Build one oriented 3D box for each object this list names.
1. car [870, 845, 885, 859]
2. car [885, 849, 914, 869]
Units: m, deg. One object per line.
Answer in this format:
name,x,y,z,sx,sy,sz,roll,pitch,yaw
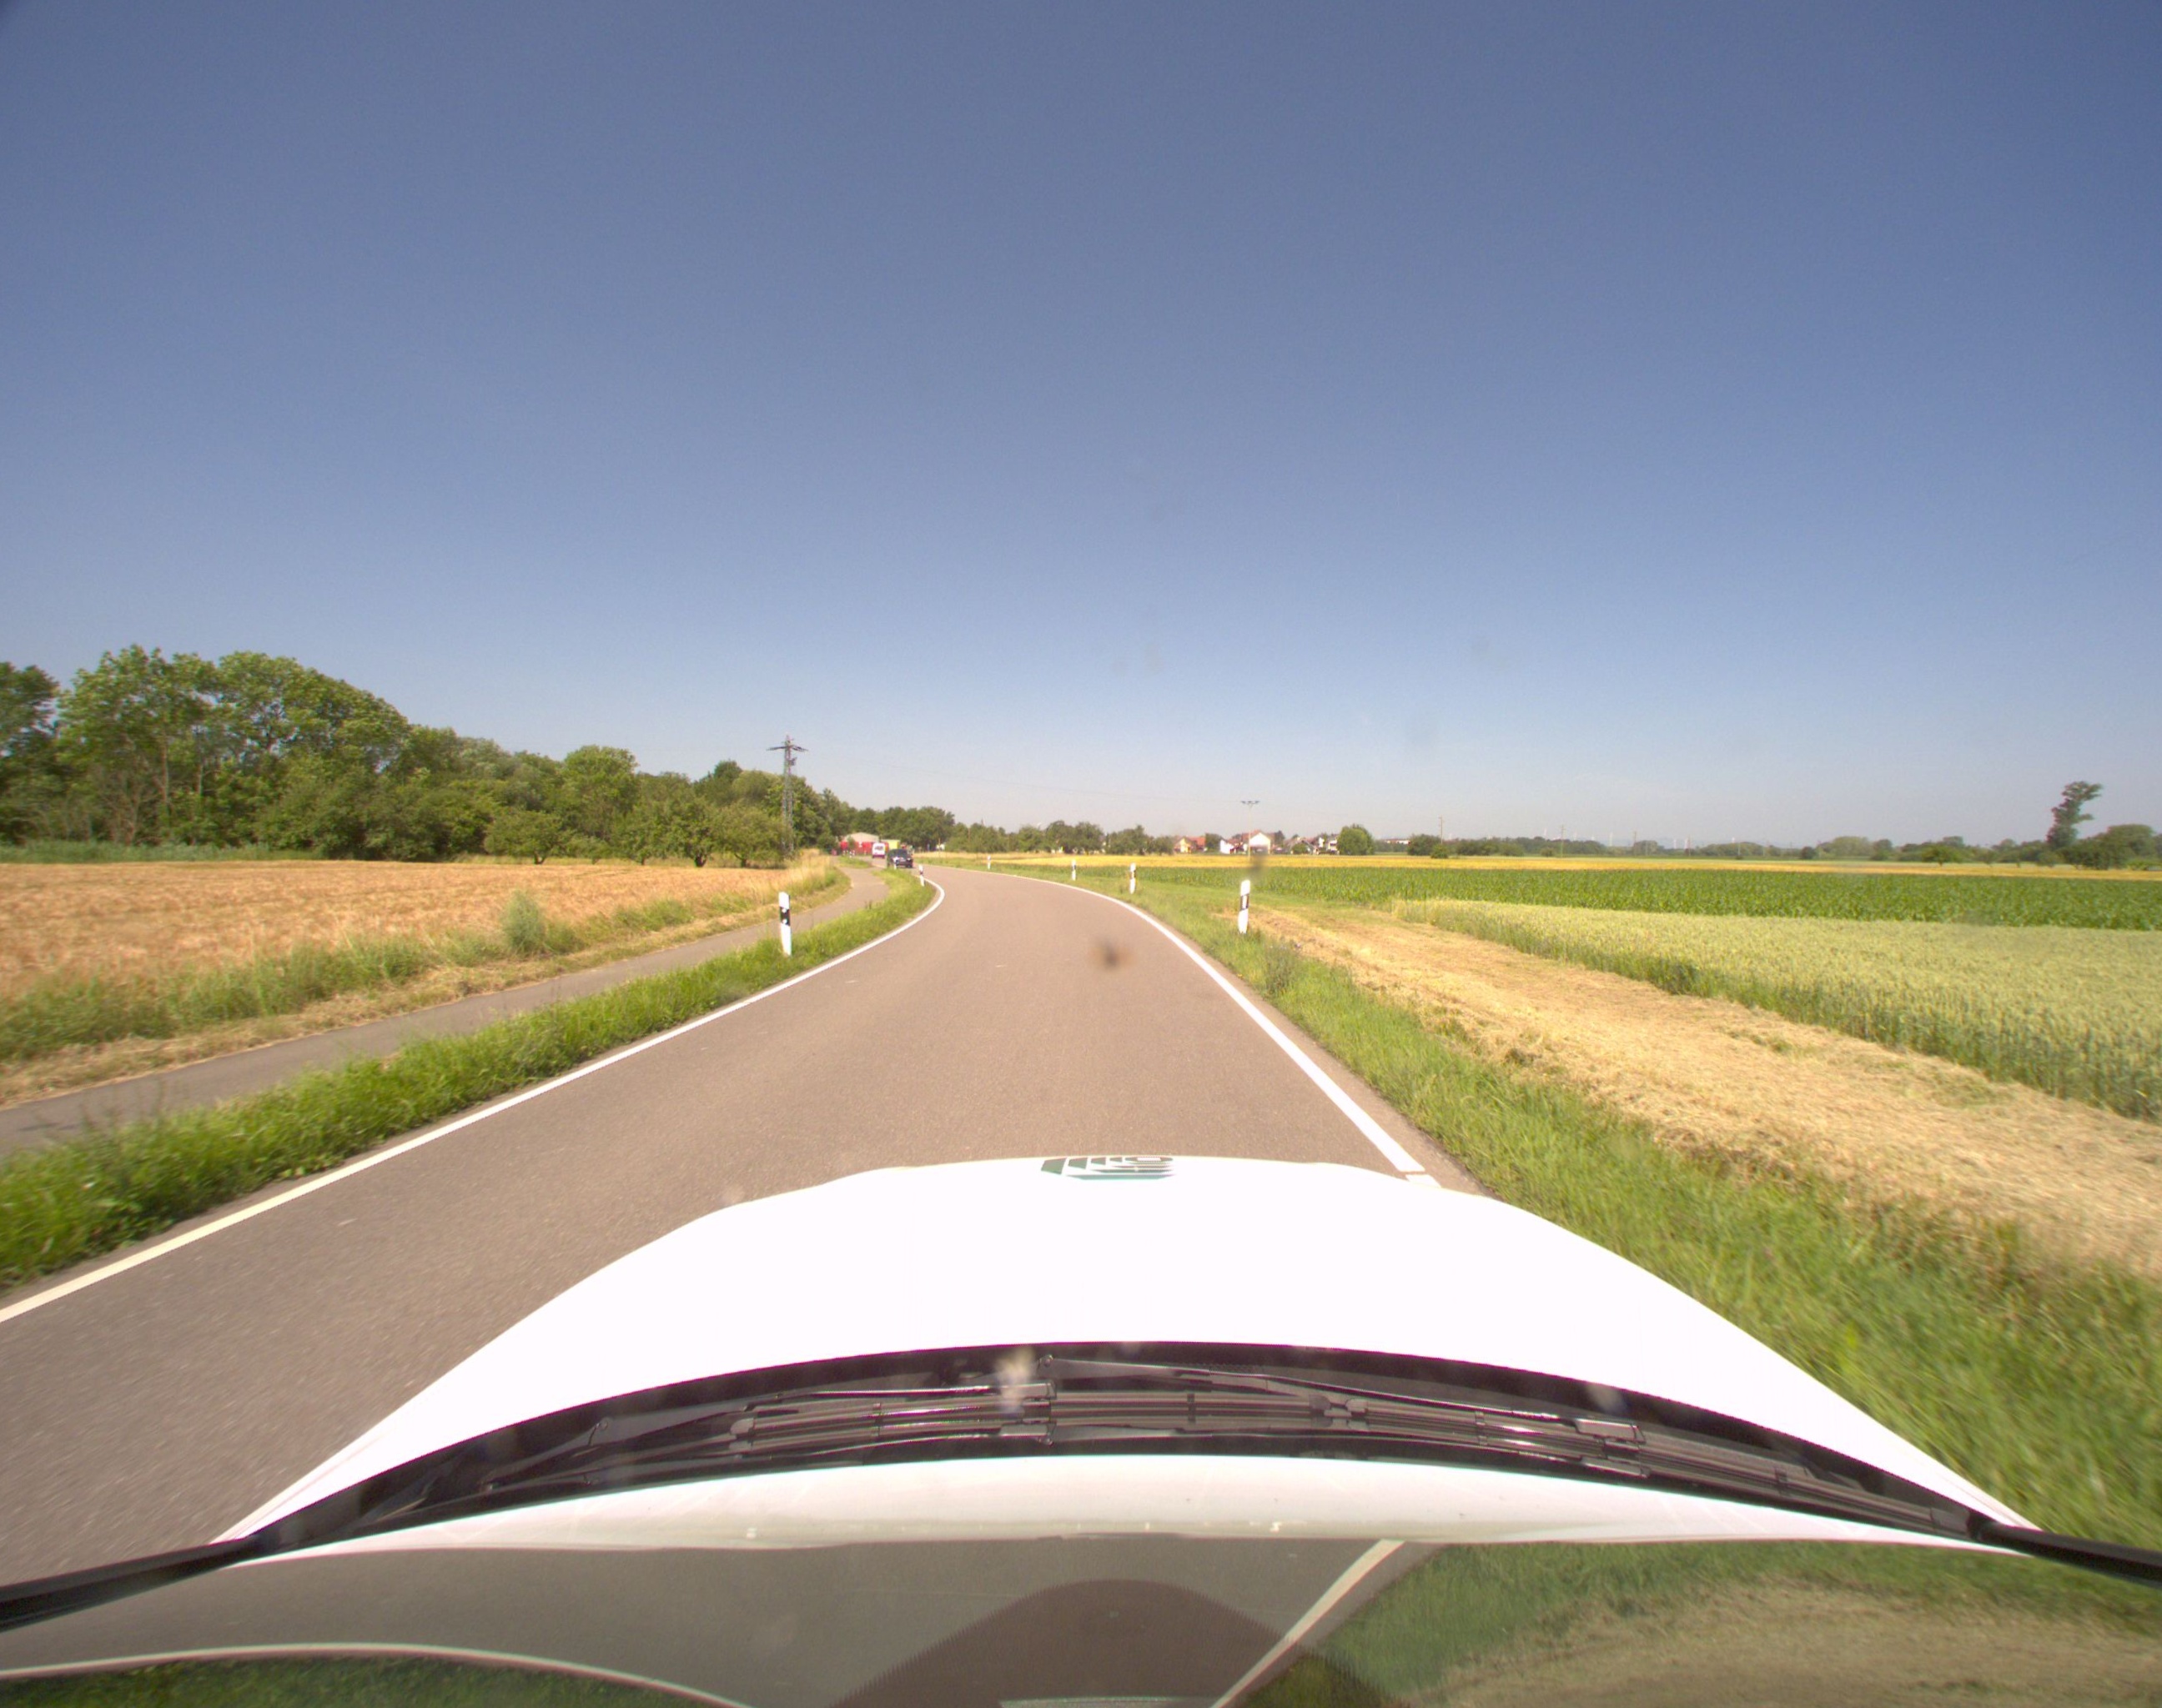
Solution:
car,-33.430,-0.309,133.541,1.999,2.266,4.697,0,0,-18
car,-16.145,0.453,72.298,1.894,1.714,3.985,-1,1,-22
